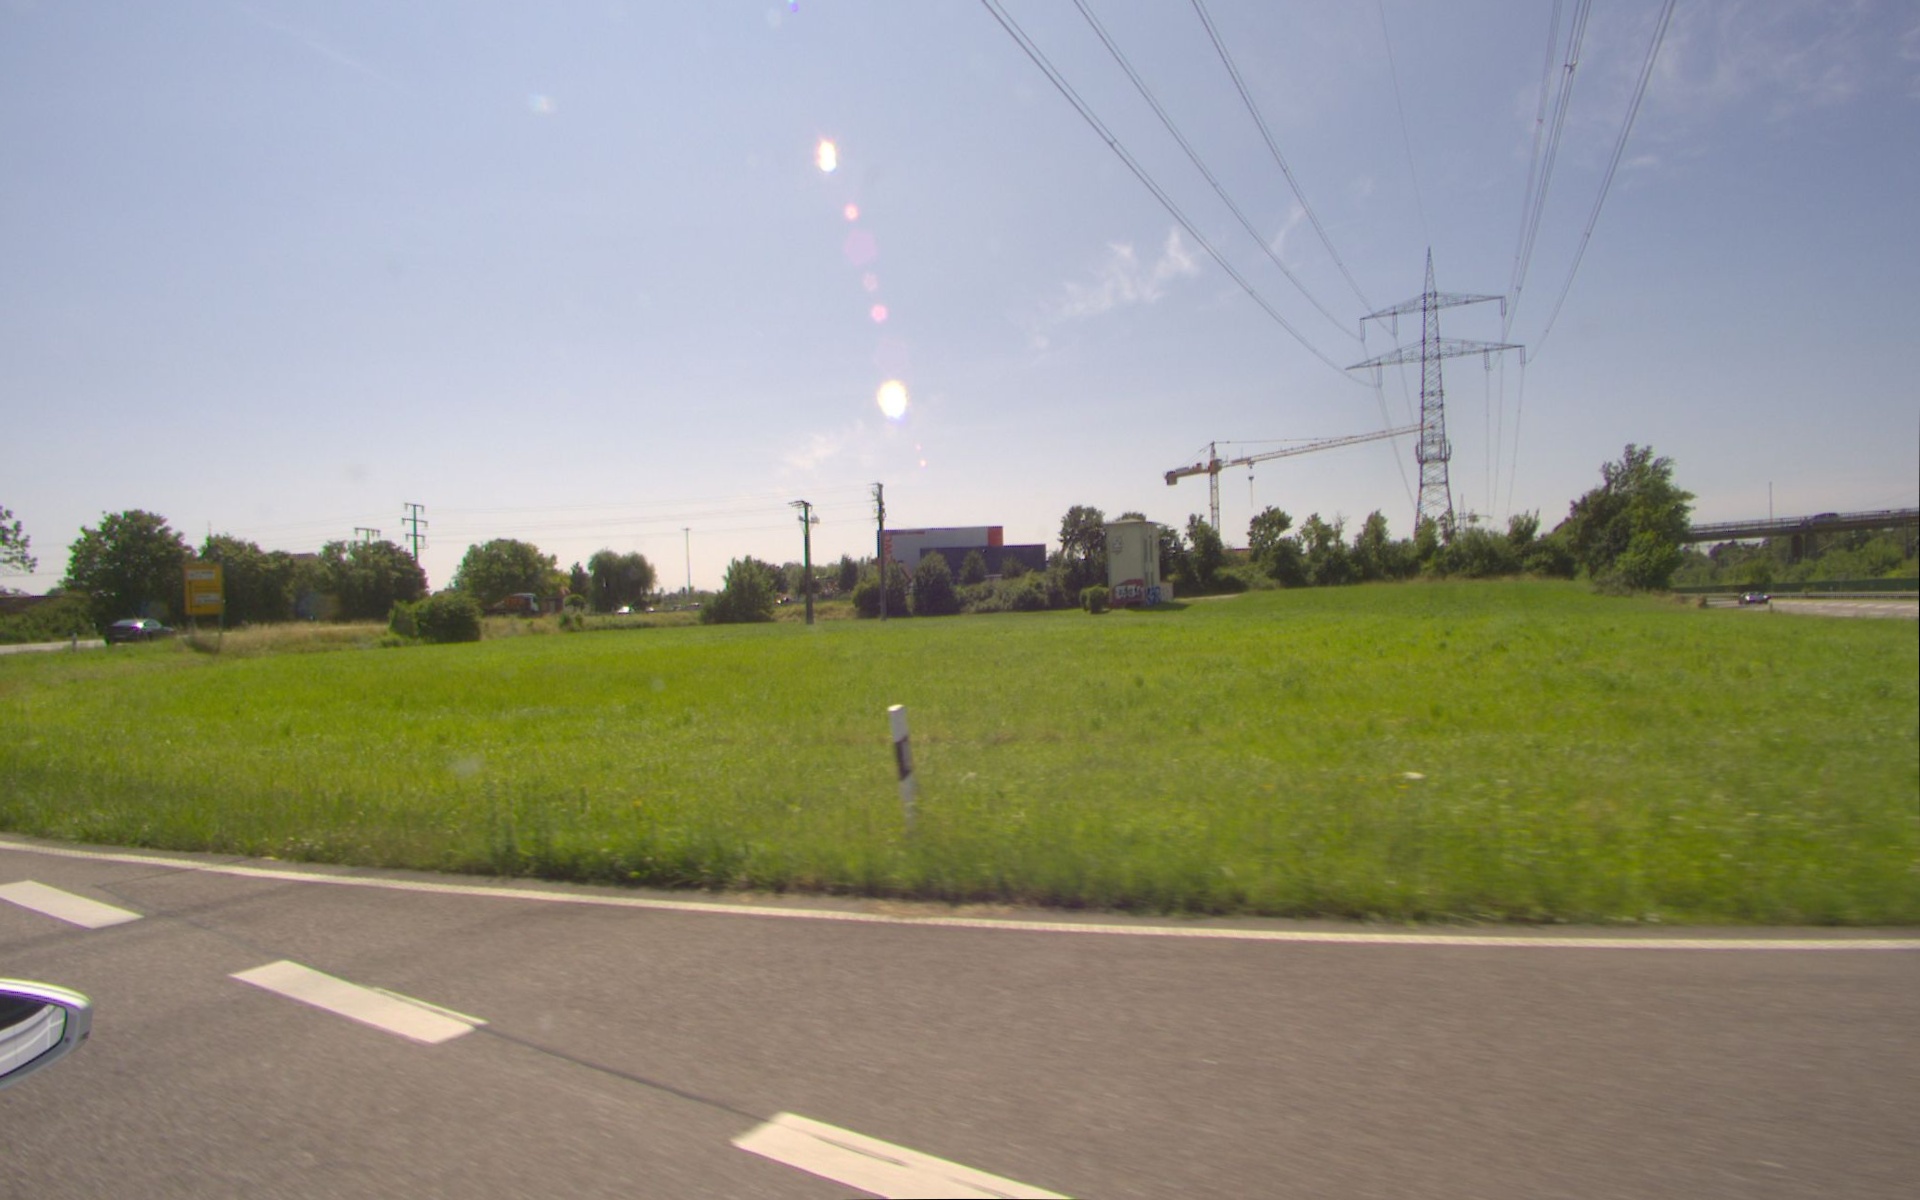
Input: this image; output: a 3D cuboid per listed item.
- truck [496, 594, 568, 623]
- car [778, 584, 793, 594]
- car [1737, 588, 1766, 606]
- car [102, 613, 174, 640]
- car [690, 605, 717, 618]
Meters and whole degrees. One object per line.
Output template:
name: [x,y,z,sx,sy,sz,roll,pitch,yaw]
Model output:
truck: [-49.846,1.056,116.984,3.051,3.177,8.799,-1,-2,13]
car: [-36.816,-2.299,211.410,1.962,2.039,4.000,-1,-2,9]
car: [77.444,-0.299,98.003,1.699,1.746,3.980,-1,0,30]
car: [-46.798,1.507,57.081,1.693,1.438,3.740,-1,-1,-14]
car: [-41.791,1.880,162.986,3.922,2.039,2.001,0,-1,-1]
